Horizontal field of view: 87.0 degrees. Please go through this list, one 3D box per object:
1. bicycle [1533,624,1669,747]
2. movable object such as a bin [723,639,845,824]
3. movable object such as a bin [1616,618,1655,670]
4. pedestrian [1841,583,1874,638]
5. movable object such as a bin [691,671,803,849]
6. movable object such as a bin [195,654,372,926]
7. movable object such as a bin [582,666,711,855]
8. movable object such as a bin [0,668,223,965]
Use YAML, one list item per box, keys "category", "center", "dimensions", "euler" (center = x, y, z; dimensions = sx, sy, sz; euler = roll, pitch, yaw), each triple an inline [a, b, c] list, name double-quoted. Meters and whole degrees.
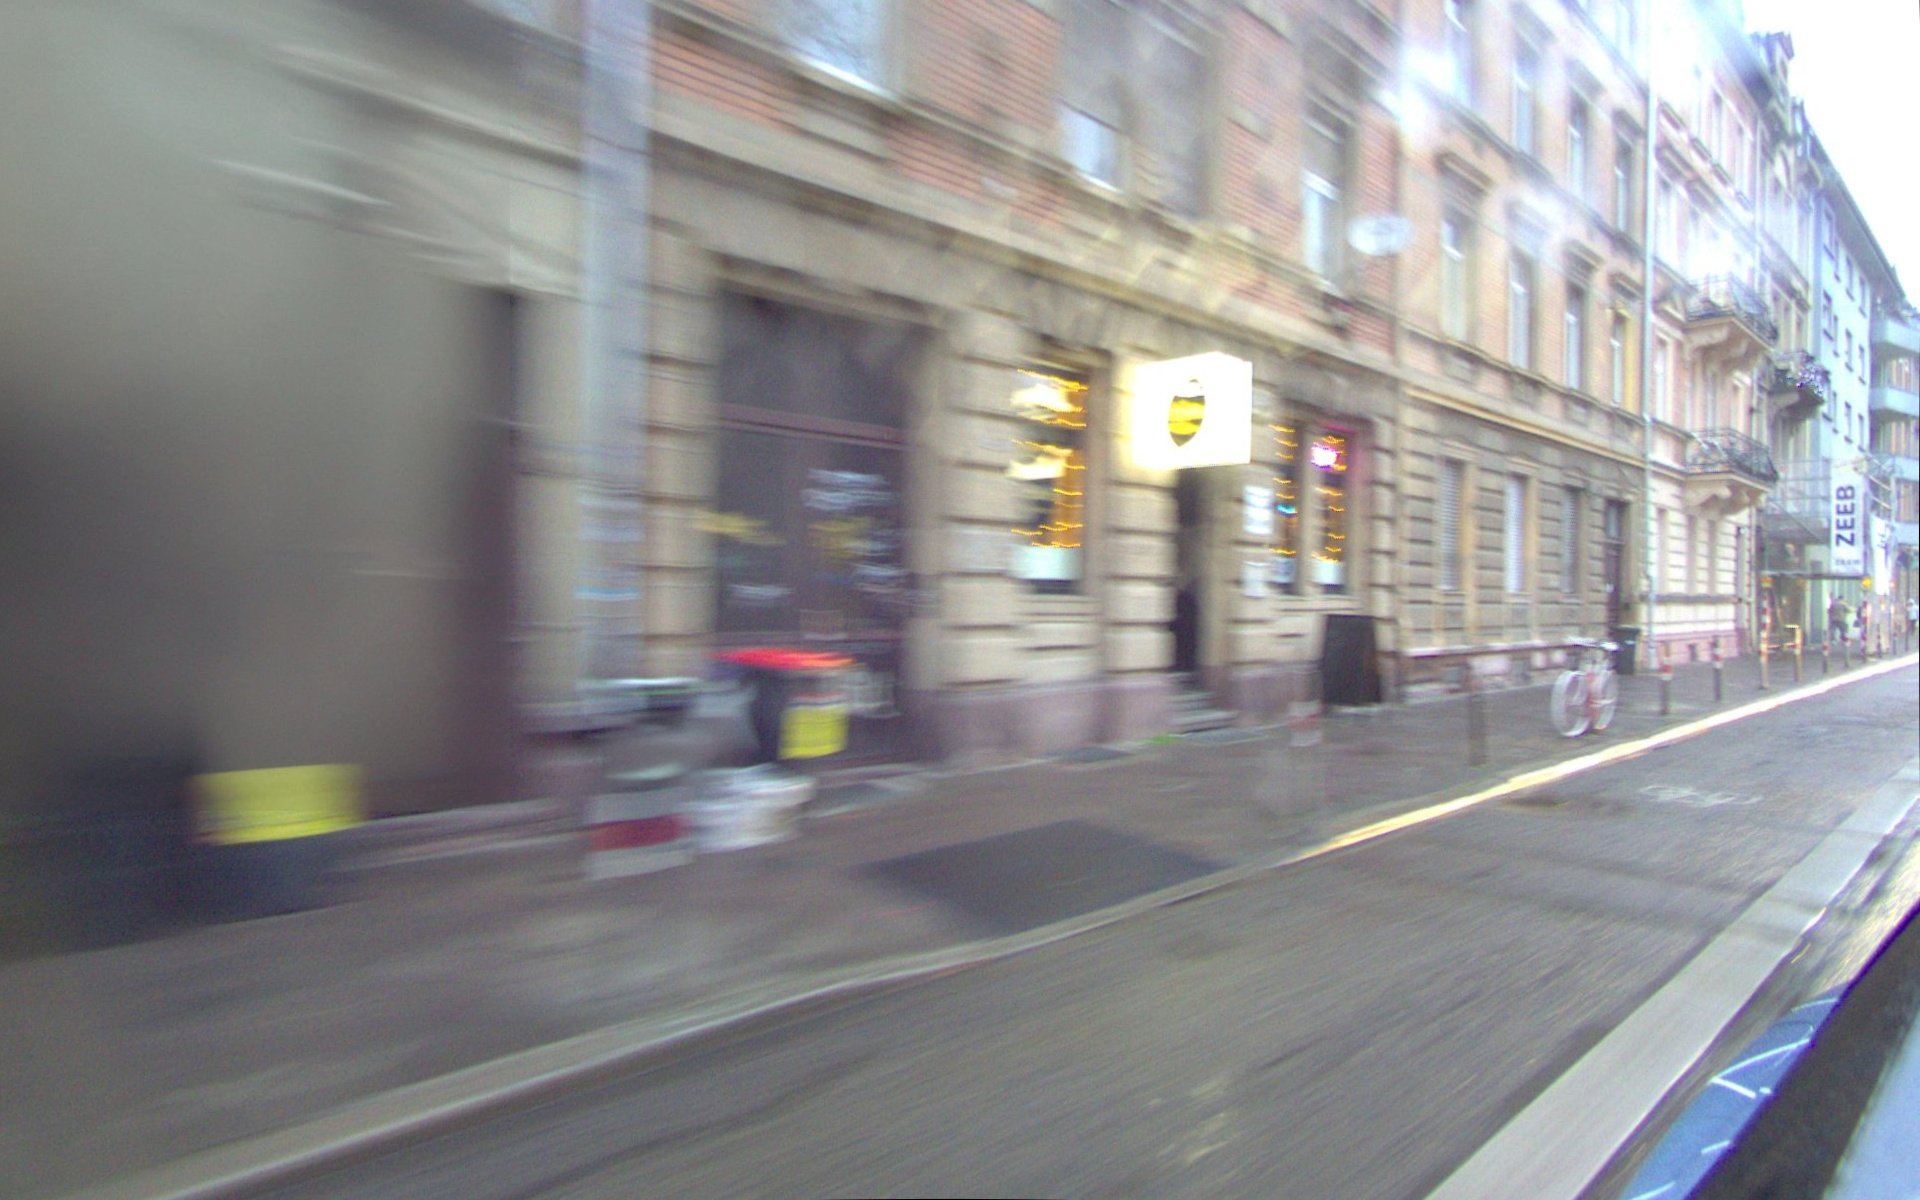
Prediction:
- category: "bicycle"
  center: [7.110, 0.885, 11.174]
  dimensions: [2.150, 1.171, 0.685]
  euler: [-1, 0, -41]
- category: "movable object such as a bin"
  center: [-1.131, 0.821, 6.543]
  dimensions: [0.606, 1.094, 0.488]
  euler: [1, 0, 21]
- category: "movable object such as a bin"
  center: [12.735, 0.814, 19.077]
  dimensions: [0.499, 0.943, 0.507]
  euler: [0, 0, -42]
- category: "pedestrian"
  center: [30.672, 0.345, 34.580]
  dimensions: [0.593, 1.841, 0.770]
  euler: [-1, 0, 22]
- category: "movable object such as a bin"
  center: [-1.247, 0.916, 5.949]
  dimensions: [0.484, 0.940, 0.422]
  euler: [1, 0, 23]
- category: "movable object such as a bin"
  center: [-3.076, 0.821, 4.657]
  dimensions: [0.587, 1.095, 0.614]
  euler: [1, 0, -26]
- category: "movable object such as a bin"
  center: [-1.784, 0.875, 5.750]
  dimensions: [0.483, 0.940, 0.612]
  euler: [0, 0, -42]
- category: "movable object such as a bin"
  center: [-3.573, 0.852, 4.291]
  dimensions: [0.587, 1.051, 0.768]
  euler: [1, 0, -26]
